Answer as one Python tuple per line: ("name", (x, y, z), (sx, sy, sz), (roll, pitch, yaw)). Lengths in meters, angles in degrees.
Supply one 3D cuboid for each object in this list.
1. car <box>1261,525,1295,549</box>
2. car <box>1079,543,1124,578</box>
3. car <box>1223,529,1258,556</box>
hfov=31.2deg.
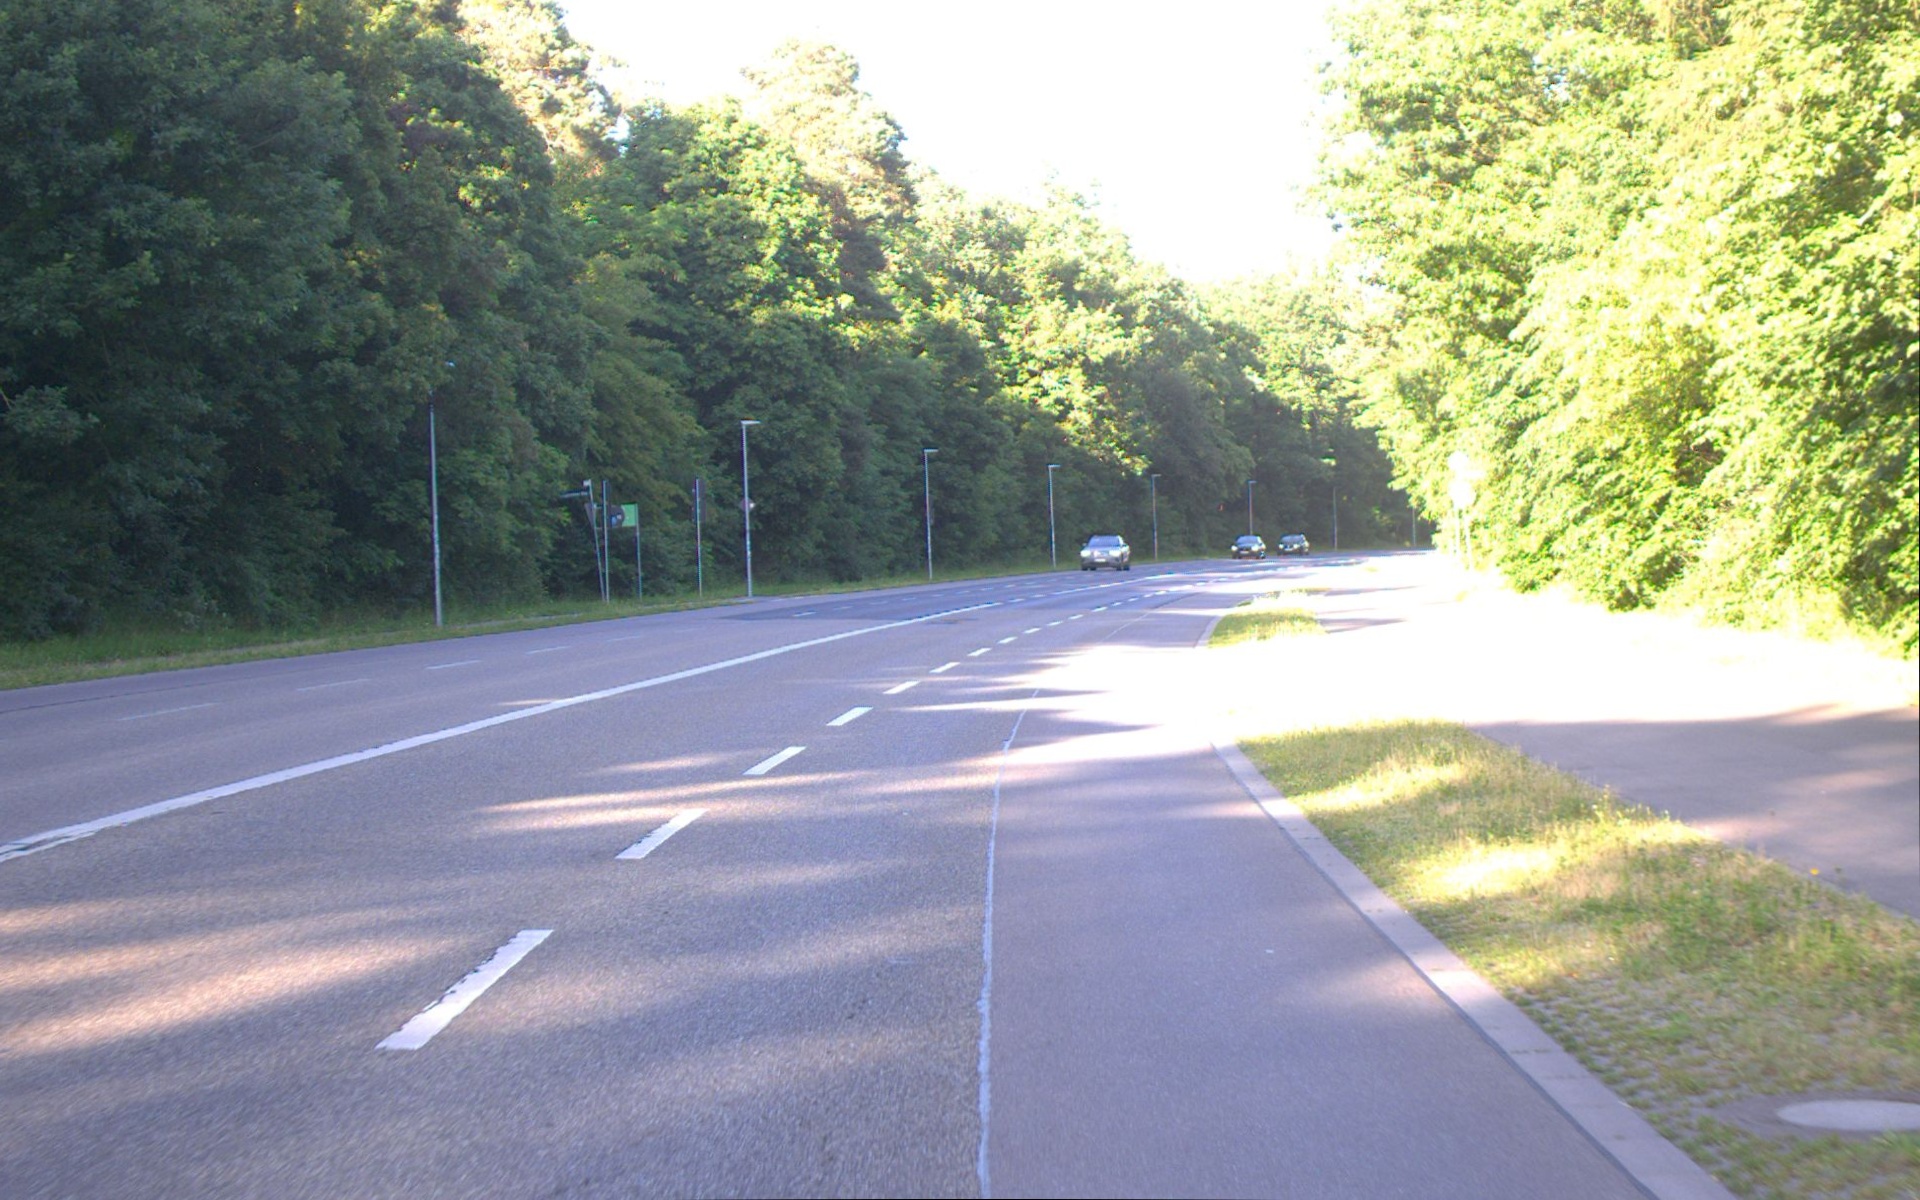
("car", (21.766, -4.286, 235.372), (1.994, 1.579, 3.998), (0, 0, 10))
("car", (6.469, -1.805, 157.611), (1.993, 1.579, 4.000), (0, 0, 2))
("car", (17.489, -3.558, 214.295), (1.994, 1.579, 3.999), (0, 0, 8))
